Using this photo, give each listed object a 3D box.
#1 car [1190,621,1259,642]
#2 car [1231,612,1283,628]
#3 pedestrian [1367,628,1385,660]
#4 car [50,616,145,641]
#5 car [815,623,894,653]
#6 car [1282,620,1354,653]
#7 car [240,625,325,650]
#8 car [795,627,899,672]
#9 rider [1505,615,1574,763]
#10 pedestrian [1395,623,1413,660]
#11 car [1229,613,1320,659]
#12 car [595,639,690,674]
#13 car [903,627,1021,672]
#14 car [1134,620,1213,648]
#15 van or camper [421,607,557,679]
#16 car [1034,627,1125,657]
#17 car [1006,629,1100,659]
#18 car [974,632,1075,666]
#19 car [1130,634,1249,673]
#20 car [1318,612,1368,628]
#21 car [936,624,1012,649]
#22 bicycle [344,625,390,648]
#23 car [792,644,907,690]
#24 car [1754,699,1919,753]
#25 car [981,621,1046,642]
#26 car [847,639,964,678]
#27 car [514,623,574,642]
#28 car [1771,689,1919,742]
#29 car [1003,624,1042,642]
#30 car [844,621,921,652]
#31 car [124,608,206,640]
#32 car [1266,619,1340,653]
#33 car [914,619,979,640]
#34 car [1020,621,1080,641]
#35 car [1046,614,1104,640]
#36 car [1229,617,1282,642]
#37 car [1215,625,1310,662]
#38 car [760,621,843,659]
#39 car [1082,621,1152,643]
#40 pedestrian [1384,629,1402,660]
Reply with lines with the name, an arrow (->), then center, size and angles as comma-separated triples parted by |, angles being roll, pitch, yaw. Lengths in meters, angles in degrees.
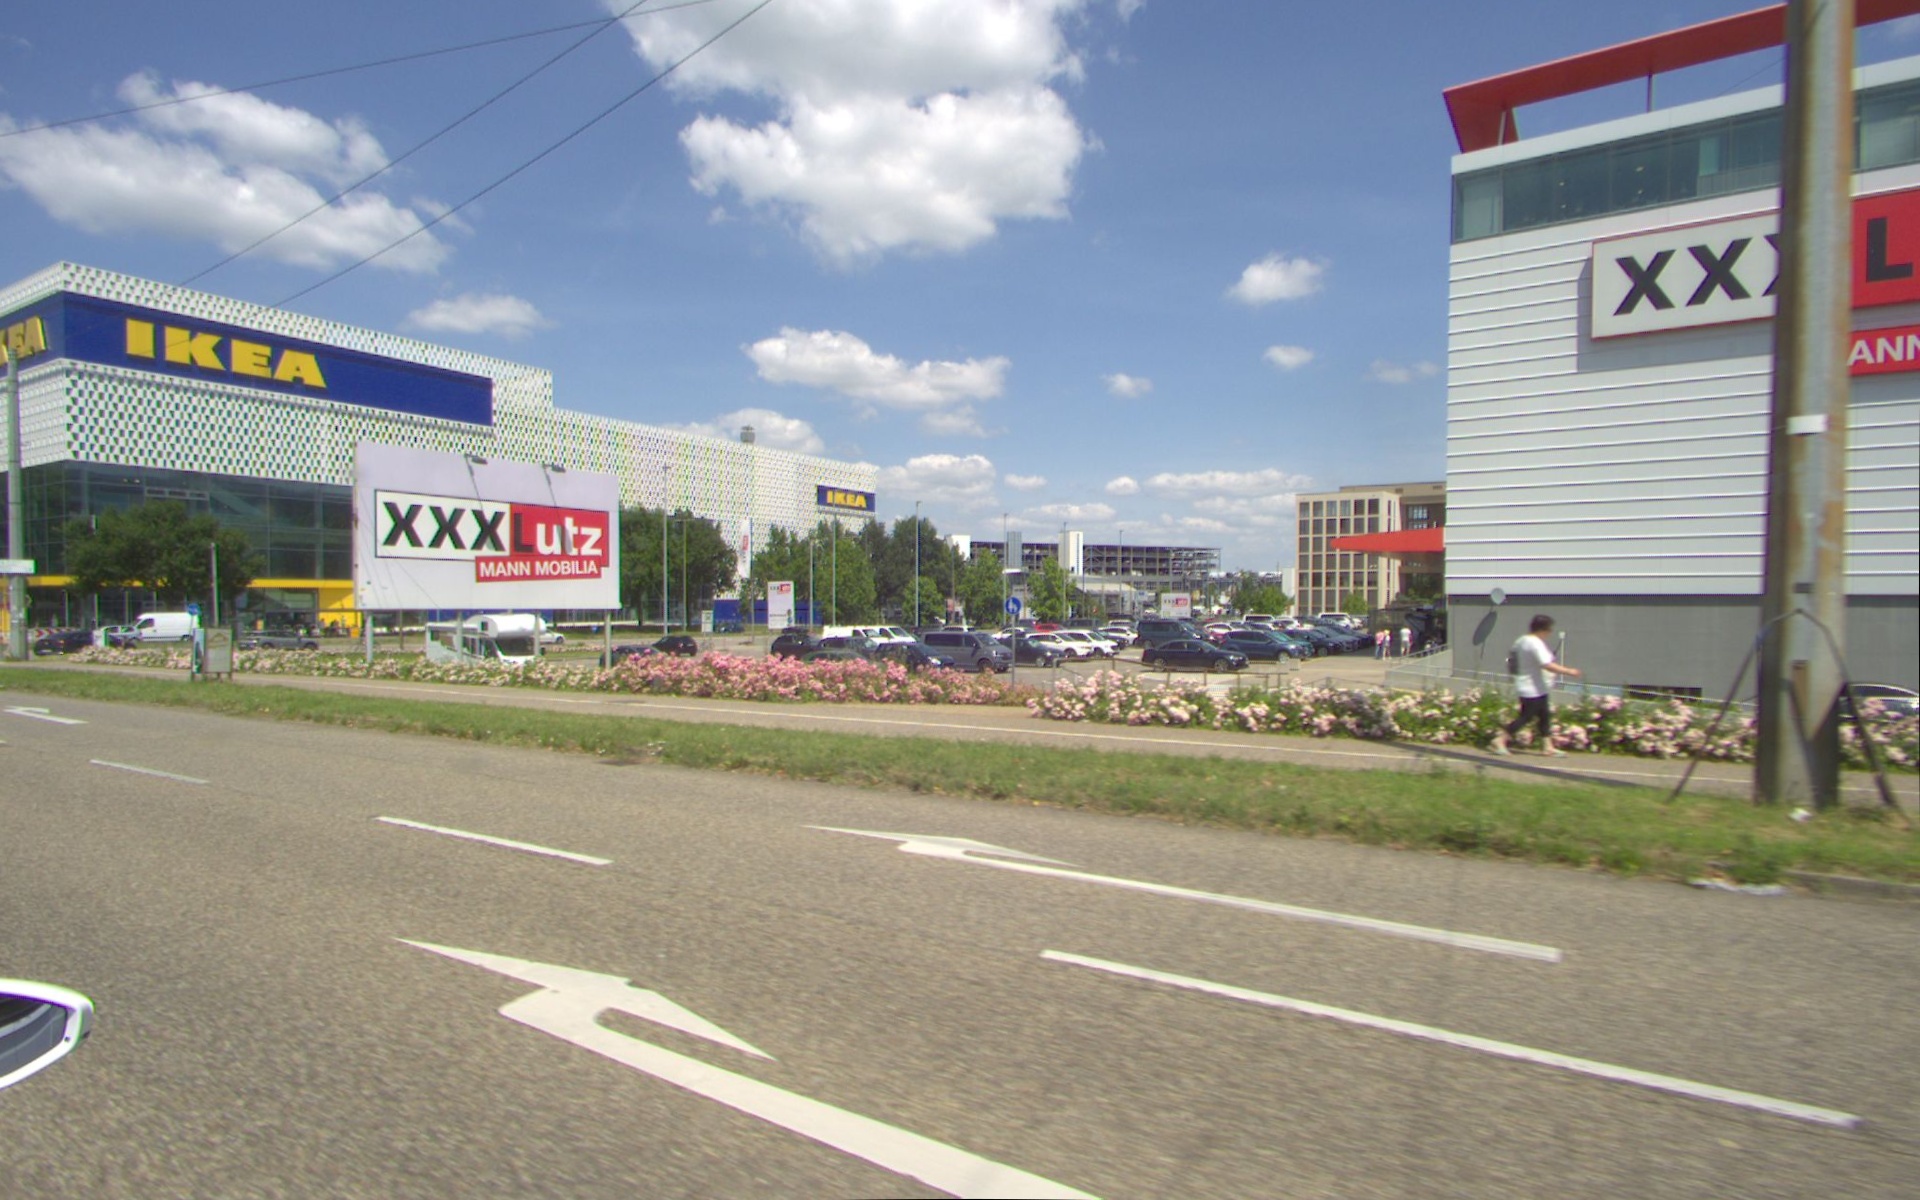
car -> 20.817, 2.465, 78.955 | 4.929, 1.631, 1.990 | 0, -2, 33
car -> 31.648, 2.146, 106.764 | 4.929, 1.631, 1.990 | 0, -2, 33
pedestrian -> 21.325, 2.251, 51.328 | 0.725, 1.578, 0.740 | 0, -1, 30
car -> -57.799, 1.932, 67.206 | 1.973, 1.505, 4.486 | 0, -2, 36
car -> -6.851, 2.417, 64.879 | 4.929, 1.876, 1.990 | 0, -1, 33
car -> 22.560, 2.270, 63.081 | 3.943, 2.040, 1.990 | -1, -1, 32
car -> -44.105, 2.447, 65.281 | 1.972, 1.505, 4.125 | 0, -2, 33
car -> -5.567, 2.378, 49.029 | 4.929, 2.040, 1.989 | 0, 1, 33
rider -> 6.062, 0.902, 10.464 | 0.609, 1.476, 0.668 | 0, -1, 32
pedestrian -> 22.667, 2.112, 51.113 | 0.725, 1.893, 0.740 | 0, -1, 30
car -> 16.917, 1.916, 53.889 | 4.271, 2.357, 1.990 | 0, -2, 33
car -> -15.894, 2.781, 50.118 | 4.701, 1.558, 1.989 | 0, 0, 33
car -> 0.042, 2.334, 48.078 | 5.456, 2.039, 1.990 | 0, -1, 33
car -> 15.080, 2.384, 70.764 | 5.106, 1.889, 1.991 | 0, -1, 31
van or camper -> -21.478, 1.882, 45.513 | 7.129, 3.059, 2.500 | -1, -1, 36
car -> 7.007, 2.438, 58.745 | 4.929, 1.671, 1.990 | 0, -2, 33
car -> 5.216, 2.455, 56.580 | 4.929, 1.631, 1.990 | 0, -2, 33
car -> 3.323, 2.504, 52.070 | 4.929, 1.631, 1.990 | 0, -2, 33
car -> 10.405, 2.382, 45.602 | 4.929, 1.631, 1.990 | 0, -2, 33
car -> 42.399, 2.212, 110.865 | 4.929, 1.631, 1.990 | 0, -2, 33
car -> 0.926, 2.455, 68.557 | 4.929, 1.631, 1.990 | 0, -2, 33
bicycle -> -39.359, 2.442, 66.490 | 0.976, 1.500, 2.415 | 0, -1, 37
car -> -4.409, 2.618, 39.791 | 4.241, 1.517, 1.988 | 0, 2, 33
car -> 29.432, 4.165, 33.452 | 4.288, 1.416, 1.991 | -1, -2, 31
car -> 4.309, 2.522, 81.175 | 4.929, 1.631, 1.990 | 0, -2, 33
car -> -2.423, 2.520, 43.957 | 4.929, 1.570, 1.990 | 0, -2, 33
car -> -35.837, 2.790, 86.288 | 1.979, 1.505, 4.353 | -1, -3, 44
car -> 33.006, 4.217, 36.975 | 4.524, 1.632, 1.990 | -1, -2, 32
car -> 6.954, 3.649, 111.641 | 3.942, 1.864, 1.818 | 0, 1, 32
car -> -5.166, 2.411, 66.859 | 4.929, 2.033, 1.990 | 0, -1, 33
car -> -60.116, 1.854, 75.754 | 4.730, 2.338, 1.980 | 1, -1, -45
car -> 20.905, 2.176, 61.039 | 3.943, 2.039, 1.990 | 0, -1, 32
car -> -1.111, 2.418, 81.431 | 4.921, 1.631, 1.993 | 0, -1, 27
car -> 7.884, 2.712, 87.644 | 4.929, 1.631, 1.990 | 0, -2, 33
car -> 10.546, 2.491, 91.727 | 4.929, 2.333, 1.990 | 0, -1, 33
car -> 24.700, 2.444, 83.710 | 3.943, 2.040, 1.990 | -1, -1, 32
car -> 15.569, 2.212, 51.583 | 4.271, 1.804, 1.991 | 0, -3, 33
car -> -9.628, 2.397, 60.815 | 4.929, 2.162, 1.990 | 0, -1, 33
car -> 11.974, 2.443, 76.532 | 4.929, 1.631, 1.990 | 0, -2, 33
pedestrian -> 21.788, 2.231, 50.406 | 0.725, 1.578, 0.740 | 0, -1, 30
